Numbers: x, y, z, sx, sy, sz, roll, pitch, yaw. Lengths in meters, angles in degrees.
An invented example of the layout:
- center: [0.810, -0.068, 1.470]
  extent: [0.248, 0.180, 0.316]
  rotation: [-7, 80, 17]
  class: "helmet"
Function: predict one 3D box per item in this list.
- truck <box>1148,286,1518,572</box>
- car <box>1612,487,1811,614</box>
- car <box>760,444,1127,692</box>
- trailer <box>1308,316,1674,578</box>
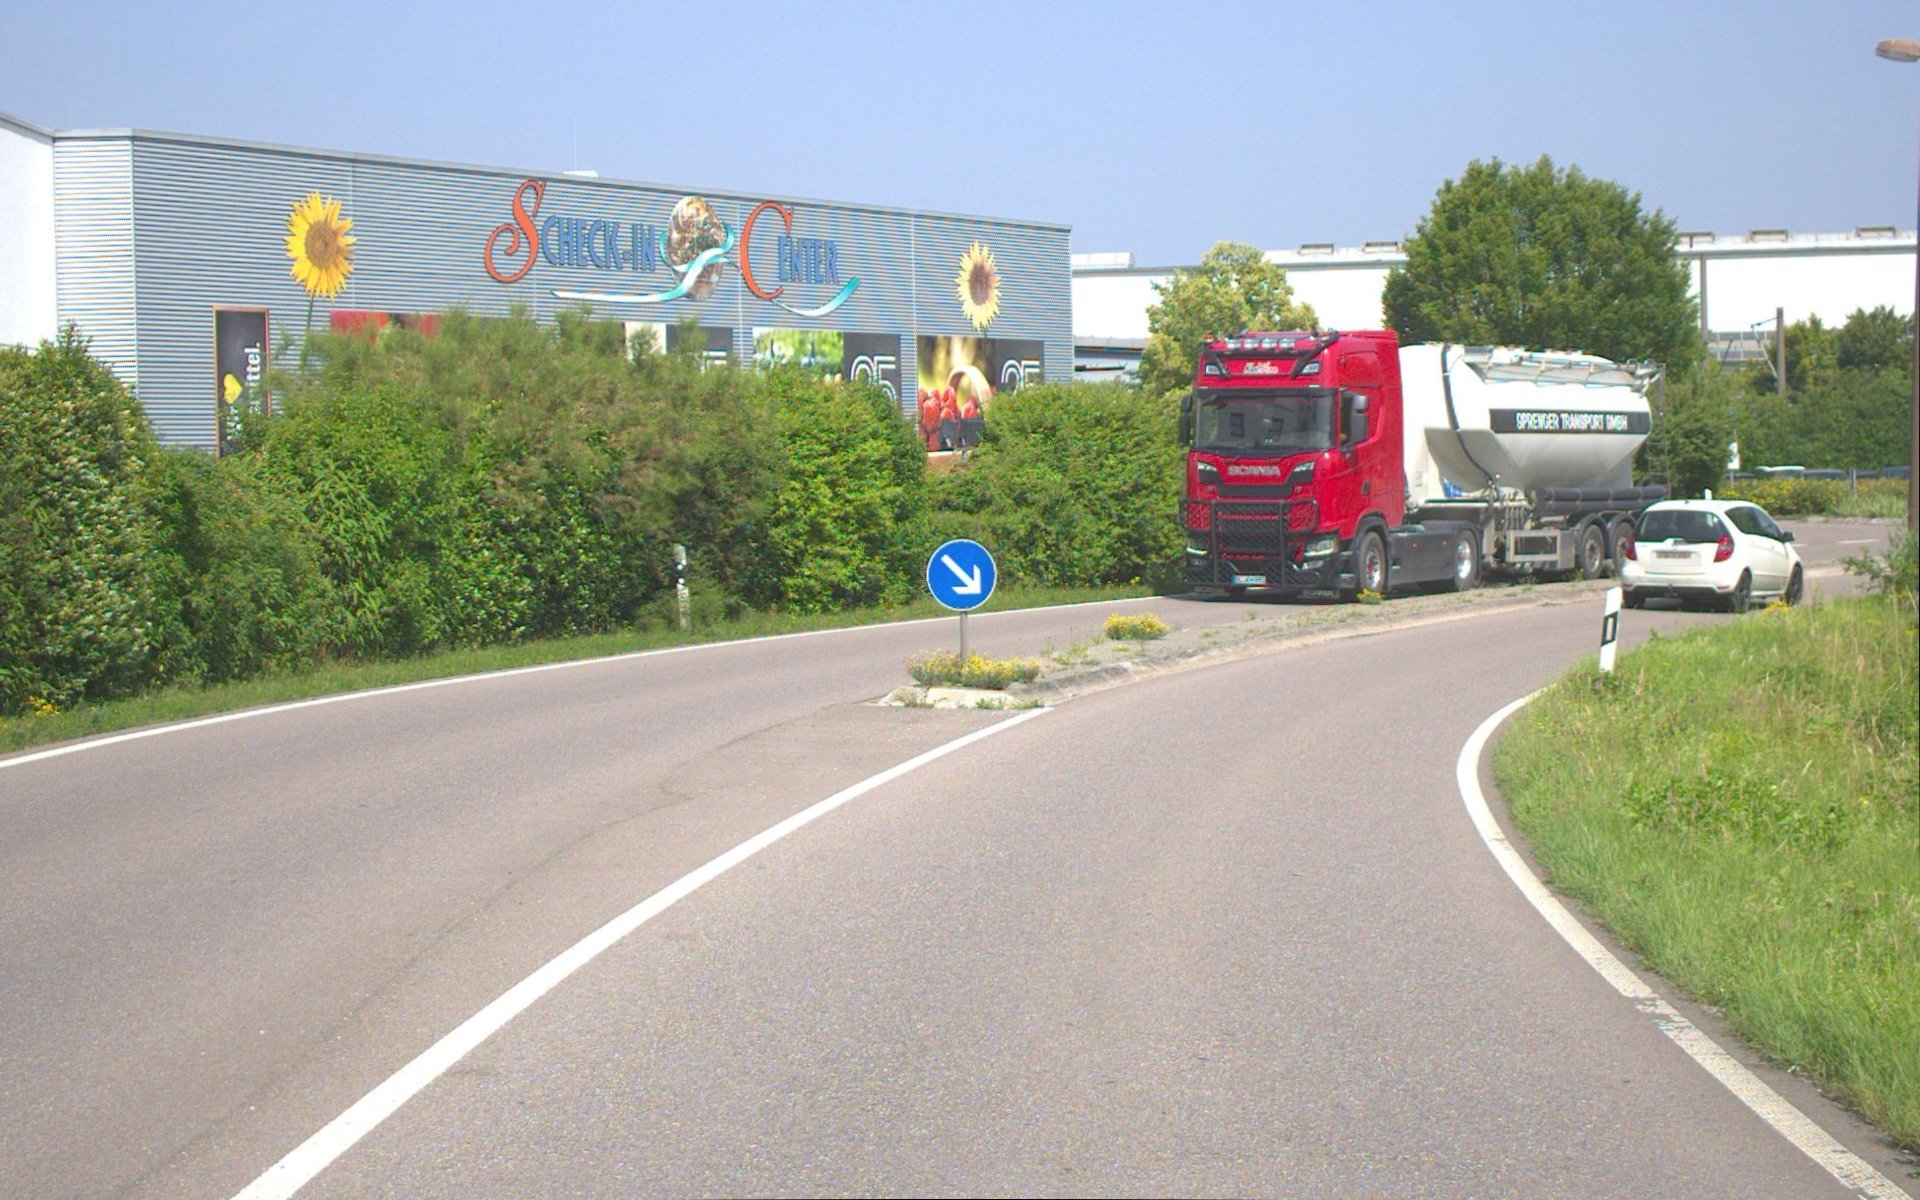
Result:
- center: [5.727, -2.442, 51.799]
  extent: [2.887, 4.016, 6.709]
  rotation: [1, 1, 32]
  class: "truck"
- center: [11.010, -0.700, 50.204]
  extent: [1.784, 1.597, 3.887]
  rotation: [6, 2, 27]
  class: "car"
- center: [-0.059, -0.290, 30.018]
  extent: [1.995, 2.007, 3.996]
  rotation: [0, 1, 19]
  class: "car"
- center: [8.973, -2.396, 57.078]
  extent: [2.884, 4.016, 8.681]
  rotation: [1, 1, 31]
  class: "trailer"
